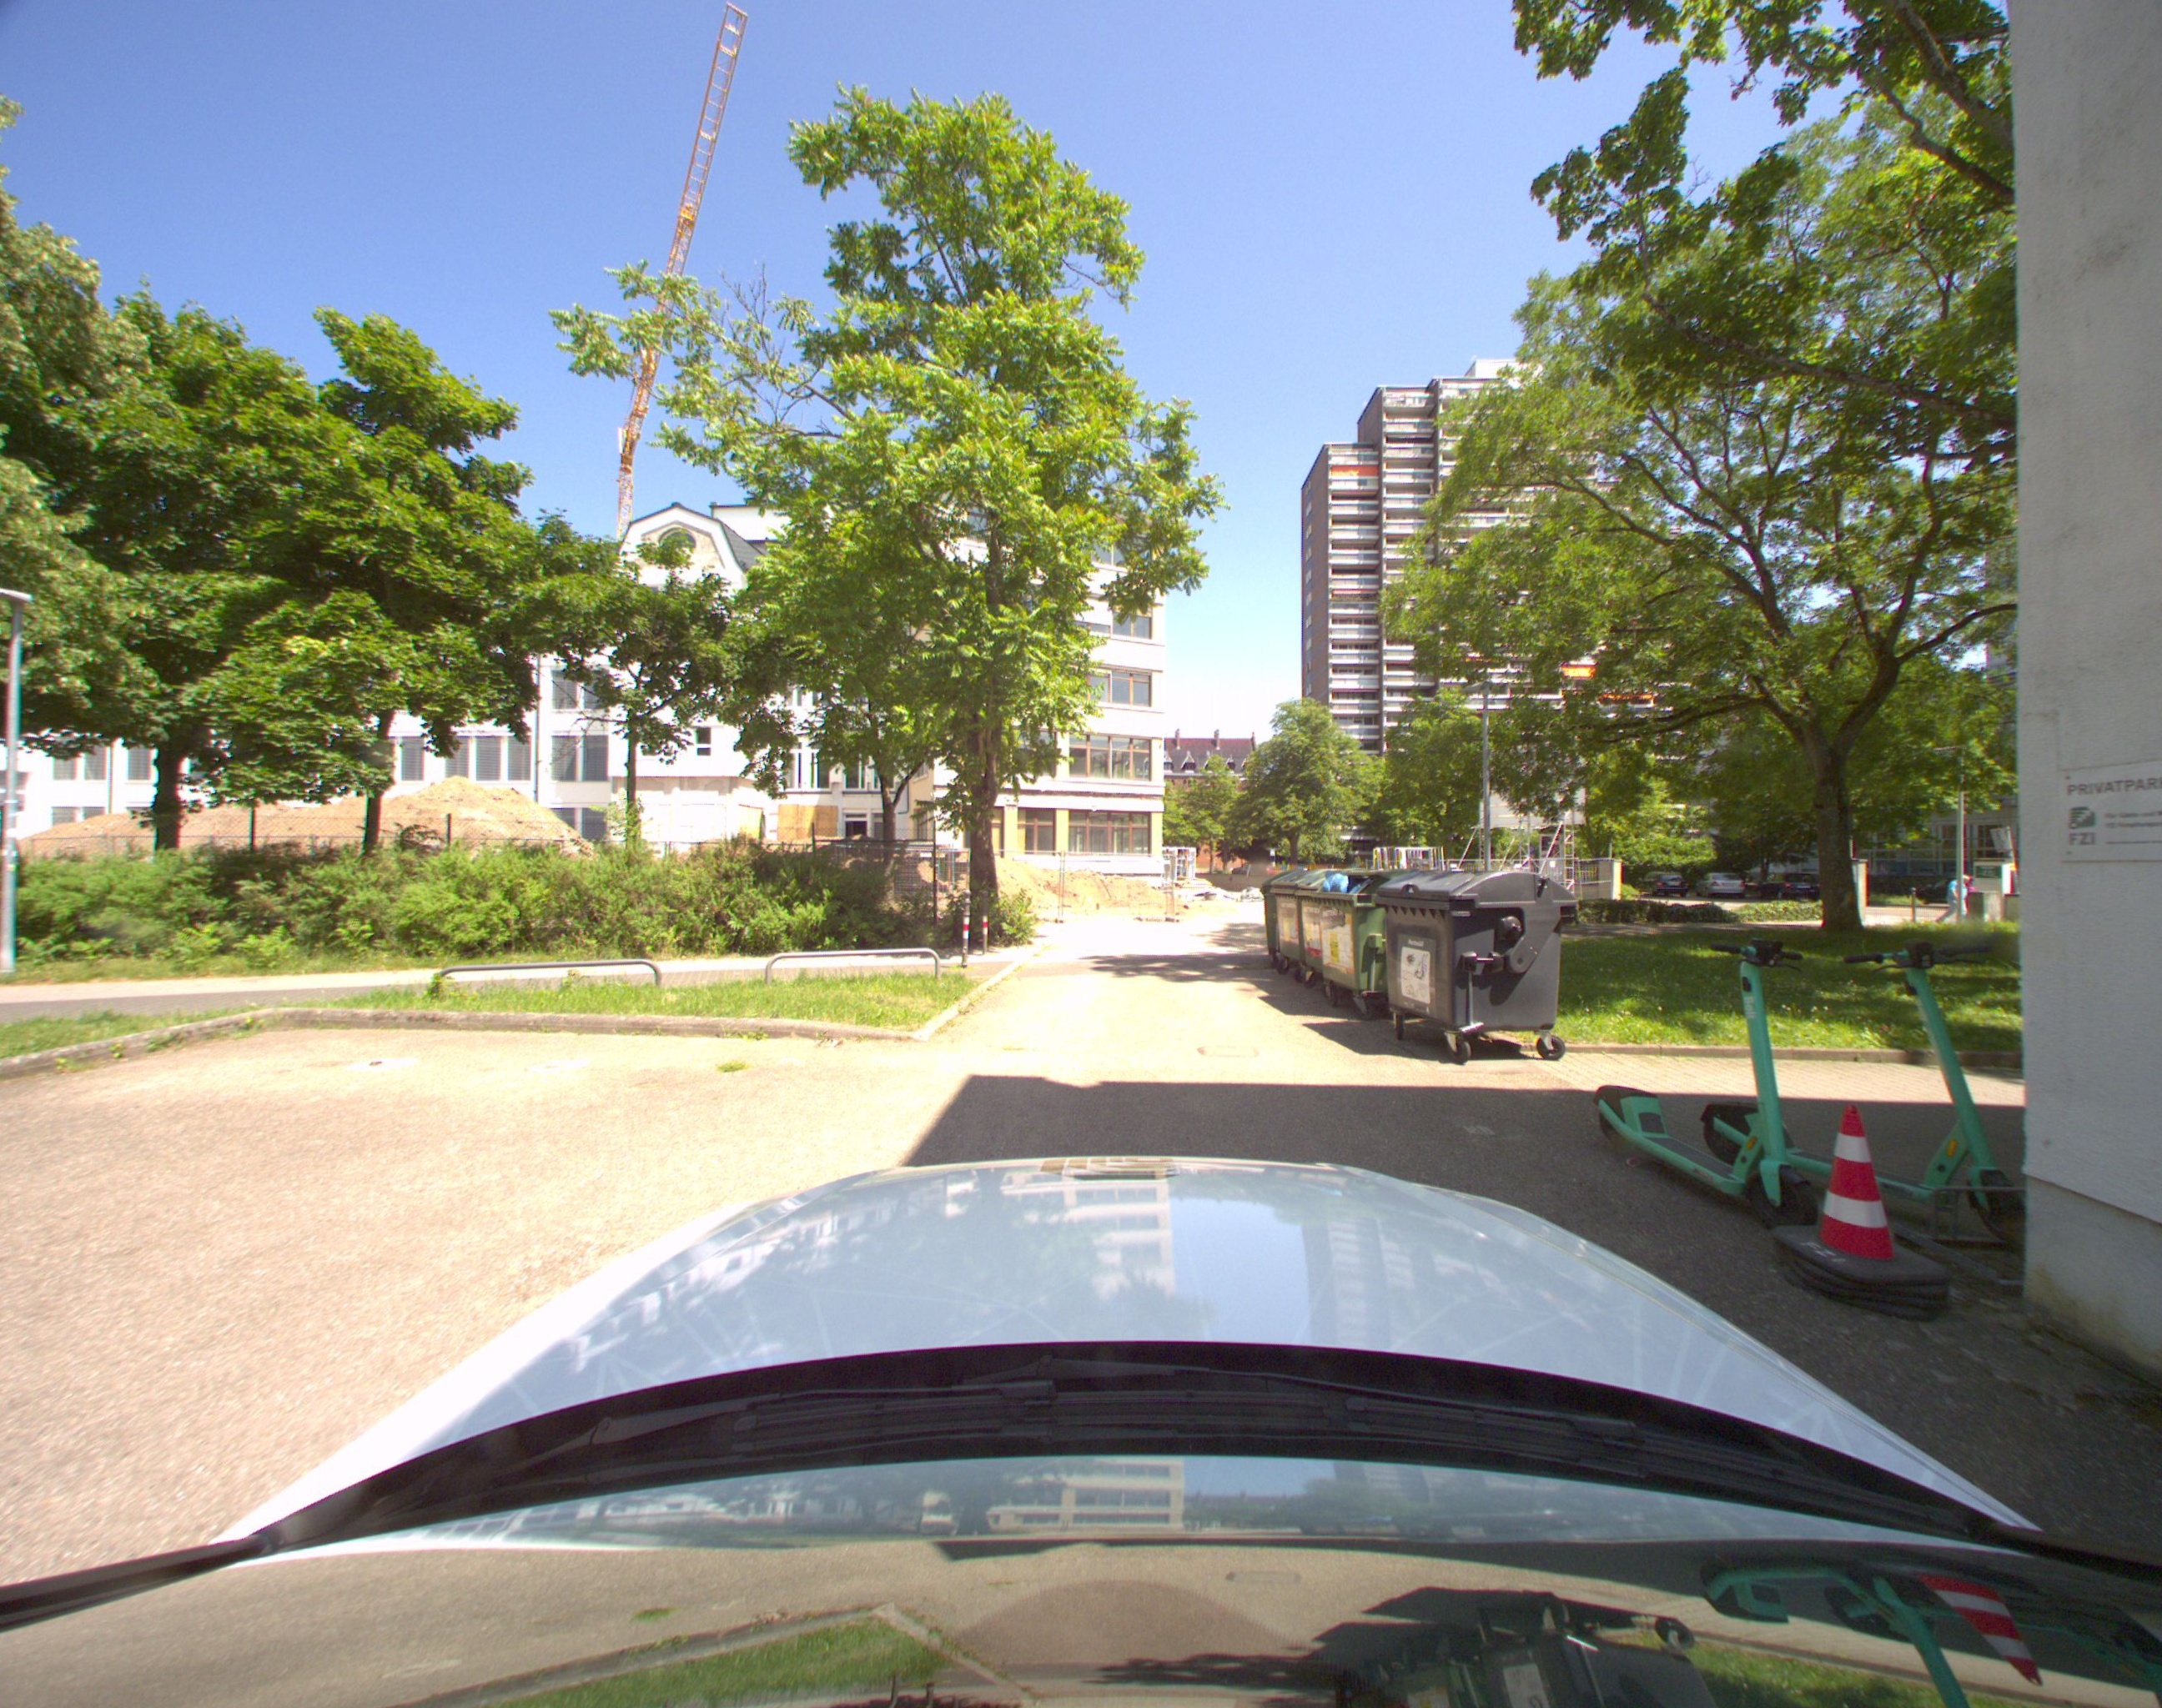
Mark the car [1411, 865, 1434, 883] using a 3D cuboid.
[{"bbox_3d":[27.569,1.554,65.714,1.618,1.387,3.698,1,-1,23],"label":"car"}]

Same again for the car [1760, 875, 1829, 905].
[{"bbox_3d":[37.799,1.867,43.239,1.619,1.464,3.697,1,-1,22],"label":"car"}]

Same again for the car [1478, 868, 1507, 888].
[{"bbox_3d":[29.981,1.710,59.404,1.618,1.387,3.698,1,-1,23],"label":"car"}]

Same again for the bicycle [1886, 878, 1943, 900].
[{"bbox_3d":[45.509,1.907,44.455,2.370,1.158,0.782,1,-1,-2],"label":"bicycle"}]

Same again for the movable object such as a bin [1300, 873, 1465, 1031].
[{"bbox_3d":[3.037,0.942,8.366,1.176,1.470,1.310,1,-1,-3],"label":"movable object such as a bin"}]

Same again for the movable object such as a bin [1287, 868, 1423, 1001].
[{"bbox_3d":[3.226,0.910,9.745,1.175,1.470,1.311,1,-1,-1],"label":"movable object such as a bin"}]

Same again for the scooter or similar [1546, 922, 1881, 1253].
[{"bbox_3d":[2.860,0.963,3.856,0.463,1.174,1.355,1,0,-5],"label":"scooter or similar"}]

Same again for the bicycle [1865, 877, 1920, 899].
[{"bbox_3d":[45.478,1.890,45.668,2.370,1.158,0.782,1,-1,-2],"label":"bicycle"}]

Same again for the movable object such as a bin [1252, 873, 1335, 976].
[{"bbox_3d":[3.321,1.053,12.725,1.170,1.470,1.338,1,-1,15],"label":"movable object such as a bin"}]

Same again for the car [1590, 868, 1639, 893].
[{"bbox_3d":[33.132,1.599,50.671,1.620,1.464,3.694,1,-1,18],"label":"car"}]

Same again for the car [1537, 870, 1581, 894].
[{"bbox_3d":[30.390,1.750,51.881,1.620,1.464,3.694,1,-1,18],"label":"car"}]

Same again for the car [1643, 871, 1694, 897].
[{"bbox_3d":[34.901,1.759,48.473,1.619,1.464,3.697,1,-1,22],"label":"car"}]

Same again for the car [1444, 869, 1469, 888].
[{"bbox_3d":[28.822,1.831,62.580,1.618,1.387,3.698,1,-1,23],"label":"car"}]

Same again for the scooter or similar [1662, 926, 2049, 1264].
[{"bbox_3d":[3.453,0.976,3.767,0.464,1.174,1.250,1,0,-14],"label":"scooter or similar"}]

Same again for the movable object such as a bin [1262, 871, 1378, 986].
[{"bbox_3d":[3.242,0.977,11.187,1.176,1.470,1.310,1,-1,-2],"label":"movable object such as a bin"}]

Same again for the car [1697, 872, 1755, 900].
[{"bbox_3d":[36.406,1.786,46.052,1.619,1.464,3.697,1,-1,22],"label":"car"}]

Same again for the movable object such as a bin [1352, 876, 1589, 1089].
[{"bbox_3d":[3.075,0.951,6.625,1.153,1.505,1.460,1,-1,-6],"label":"movable object such as a bin"}]
